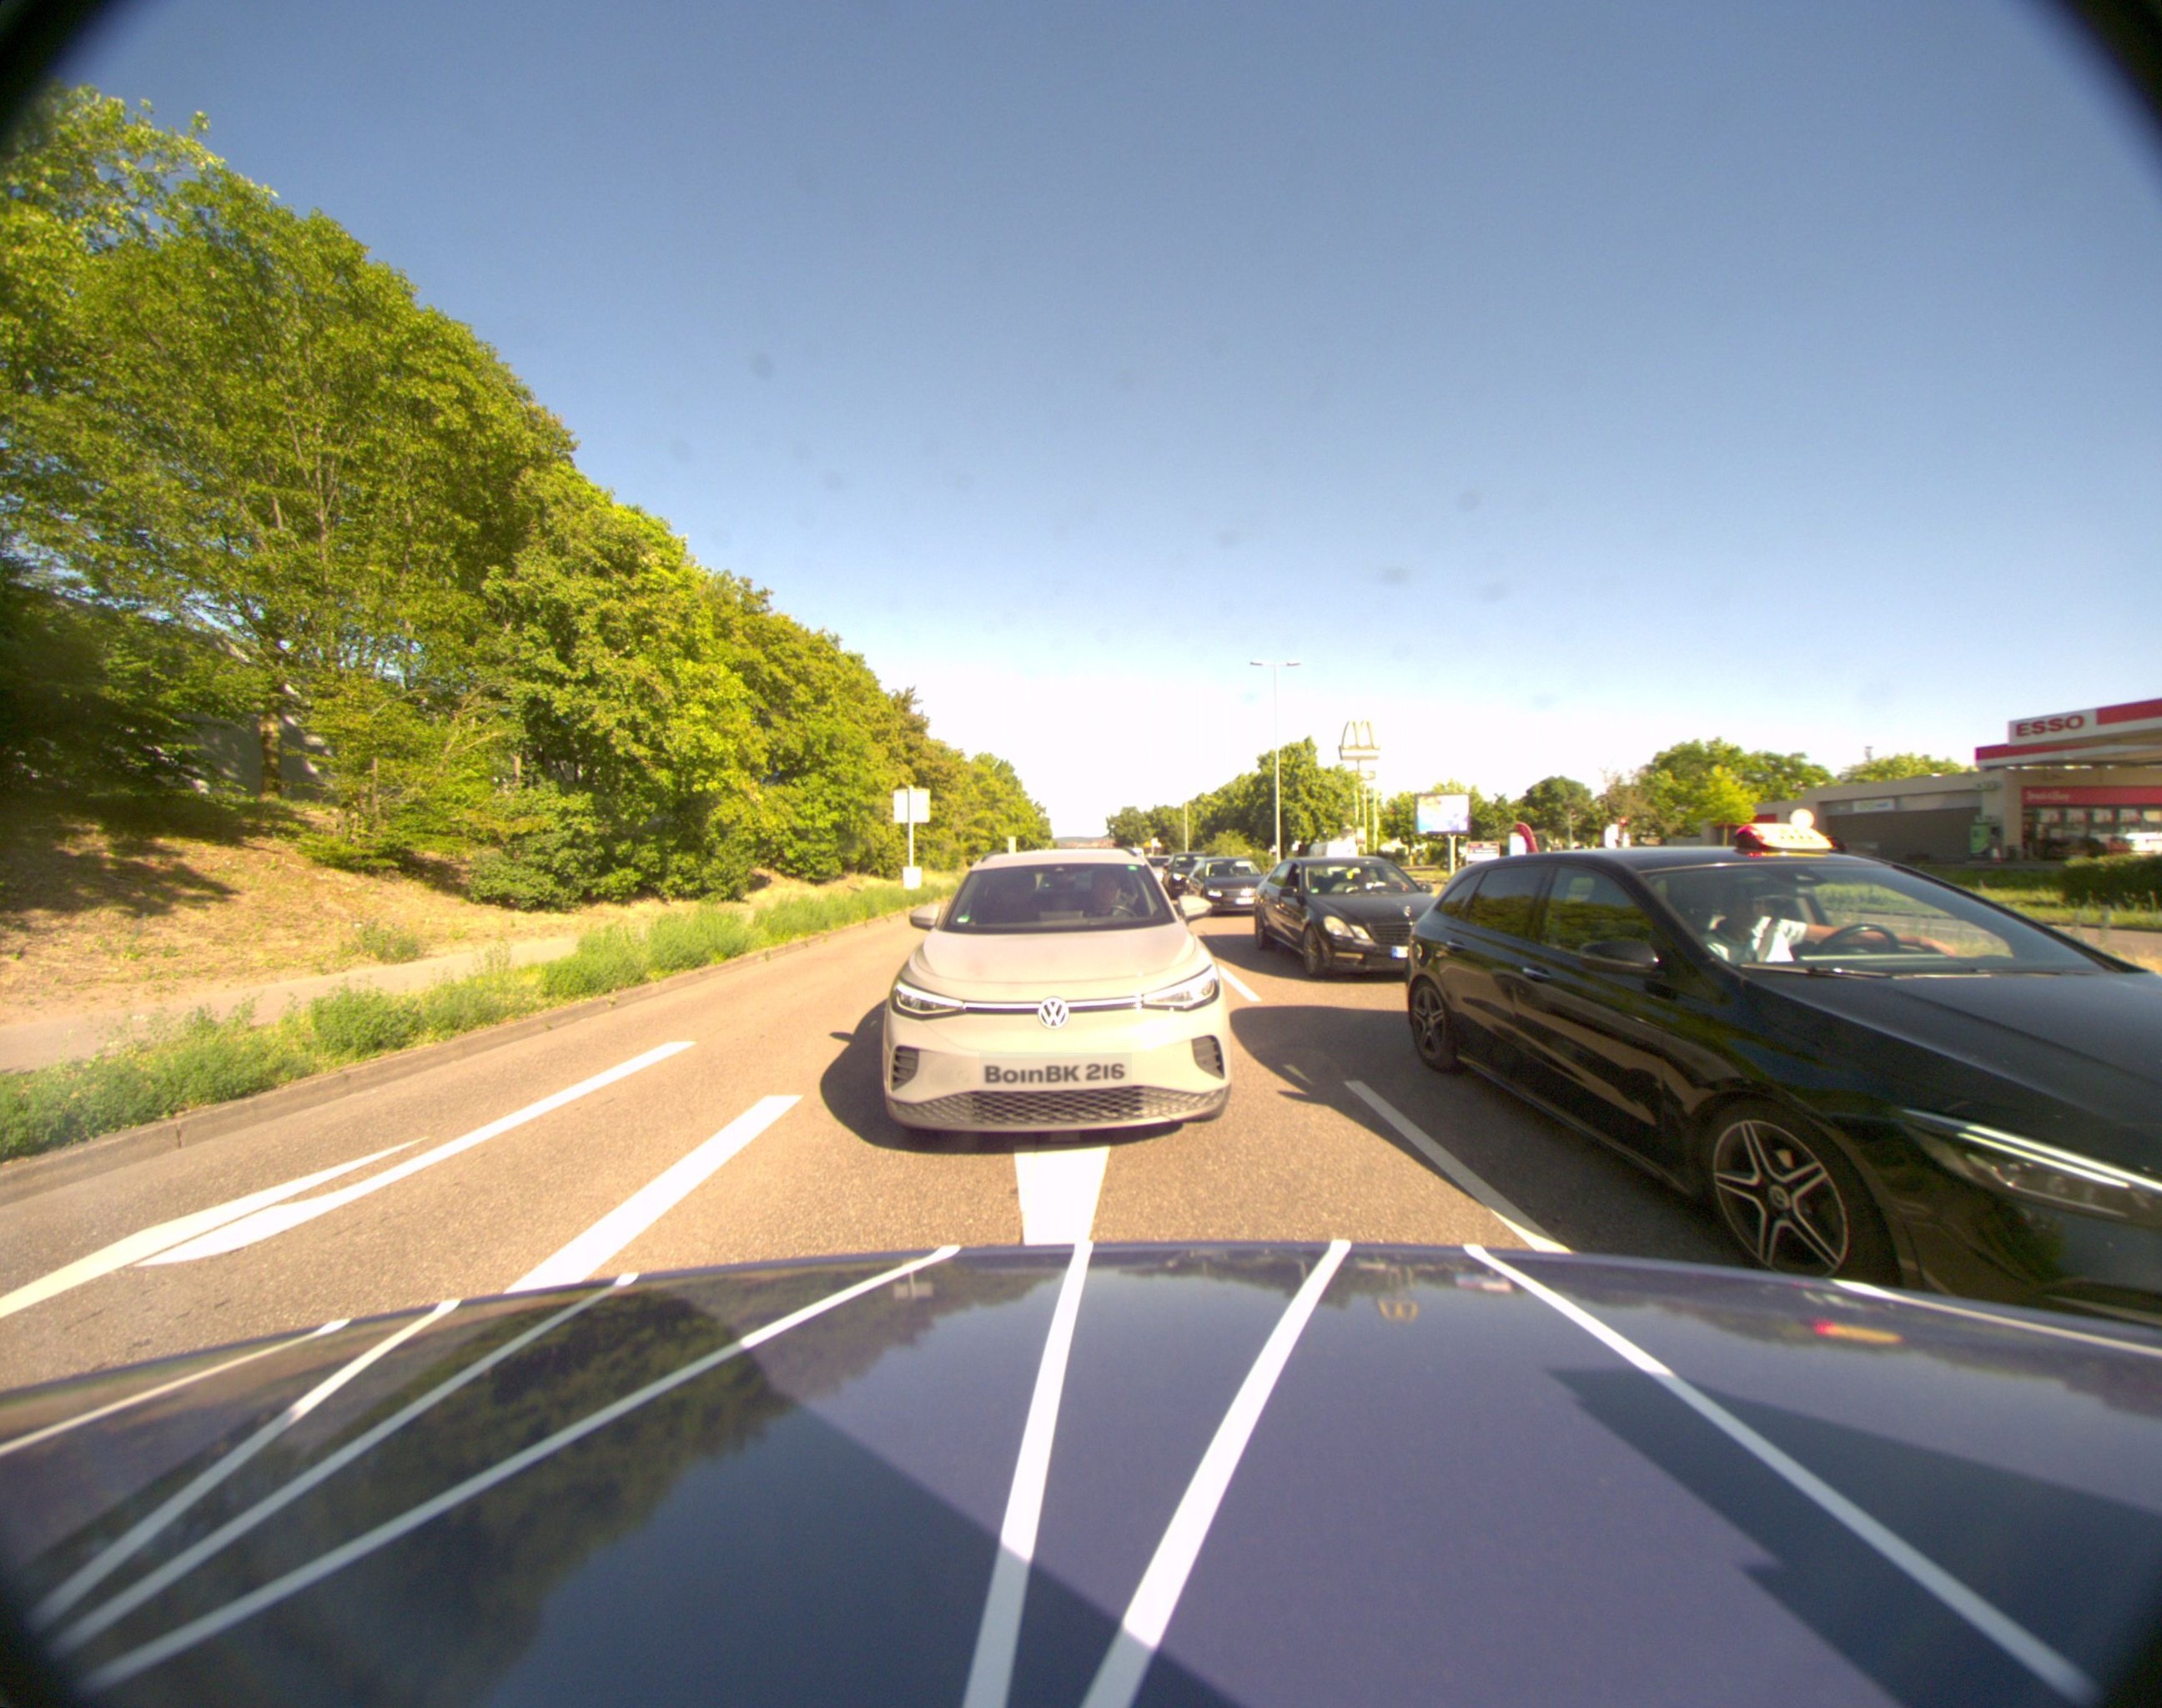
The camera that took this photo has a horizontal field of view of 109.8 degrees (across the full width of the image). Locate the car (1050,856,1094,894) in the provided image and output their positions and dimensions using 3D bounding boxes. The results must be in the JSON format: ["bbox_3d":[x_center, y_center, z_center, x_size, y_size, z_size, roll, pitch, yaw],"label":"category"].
[{"bbox_3d":[-0.342,0.883,33.209,1.765,1.503,3.760,-2,0,1],"label":"car"}]

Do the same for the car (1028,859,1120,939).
[{"bbox_3d":[-0.112,0.894,16.802,1.765,1.503,3.760,-2,0,1],"label":"car"}]

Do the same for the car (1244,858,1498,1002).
[{"bbox_3d":[3.636,0.846,10.500,1.862,1.515,4.403,-1,0,1],"label":"car"}]

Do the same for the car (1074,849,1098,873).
[{"bbox_3d":[0.493,0.655,74.906,2.289,2.274,5.381,-1,0,1],"label":"car"}]

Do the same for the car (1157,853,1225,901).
[{"bbox_3d":[3.920,0.770,27.729,1.862,1.578,4.403,-1,0,1],"label":"car"}]

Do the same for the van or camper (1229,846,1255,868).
[{"bbox_3d":[20.471,0.351,96.711,1.999,2.635,5.956,1,0,0],"label":"van or camper"}]

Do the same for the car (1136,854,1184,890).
[{"bbox_3d":[3.696,0.797,36.180,1.862,1.578,4.403,-1,0,1],"label":"car"}]

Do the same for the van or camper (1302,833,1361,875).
[{"bbox_3d":[16.657,-0.010,50.918,2.183,2.557,6.756,-1,0,5],"label":"van or camper"}]

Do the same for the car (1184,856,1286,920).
[{"bbox_3d":[3.947,0.824,20.257,1.862,1.472,4.403,-1,0,1],"label":"car"}]

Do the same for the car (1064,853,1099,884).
[{"bbox_3d":[0.061,0.742,40.933,1.765,1.503,3.760,-2,0,1],"label":"car"}]

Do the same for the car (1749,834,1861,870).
[{"bbox_3d":[37.708,-0.096,39.724,1.998,1.759,4.118,-2,0,2],"label":"car"}]

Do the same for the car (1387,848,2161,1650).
[{"bbox_3d":[3.155,0.804,3.590,1.804,1.616,4.188,-1,0,2],"label":"car"}]

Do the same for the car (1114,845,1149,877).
[{"bbox_3d":[3.730,0.482,57.198,2.289,2.274,5.381,-1,0,1],"label":"car"}]

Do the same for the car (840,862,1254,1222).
[{"bbox_3d":[-0.131,0.895,5.486,1.871,1.588,3.932,-2,0,1],"label":"car"}]
